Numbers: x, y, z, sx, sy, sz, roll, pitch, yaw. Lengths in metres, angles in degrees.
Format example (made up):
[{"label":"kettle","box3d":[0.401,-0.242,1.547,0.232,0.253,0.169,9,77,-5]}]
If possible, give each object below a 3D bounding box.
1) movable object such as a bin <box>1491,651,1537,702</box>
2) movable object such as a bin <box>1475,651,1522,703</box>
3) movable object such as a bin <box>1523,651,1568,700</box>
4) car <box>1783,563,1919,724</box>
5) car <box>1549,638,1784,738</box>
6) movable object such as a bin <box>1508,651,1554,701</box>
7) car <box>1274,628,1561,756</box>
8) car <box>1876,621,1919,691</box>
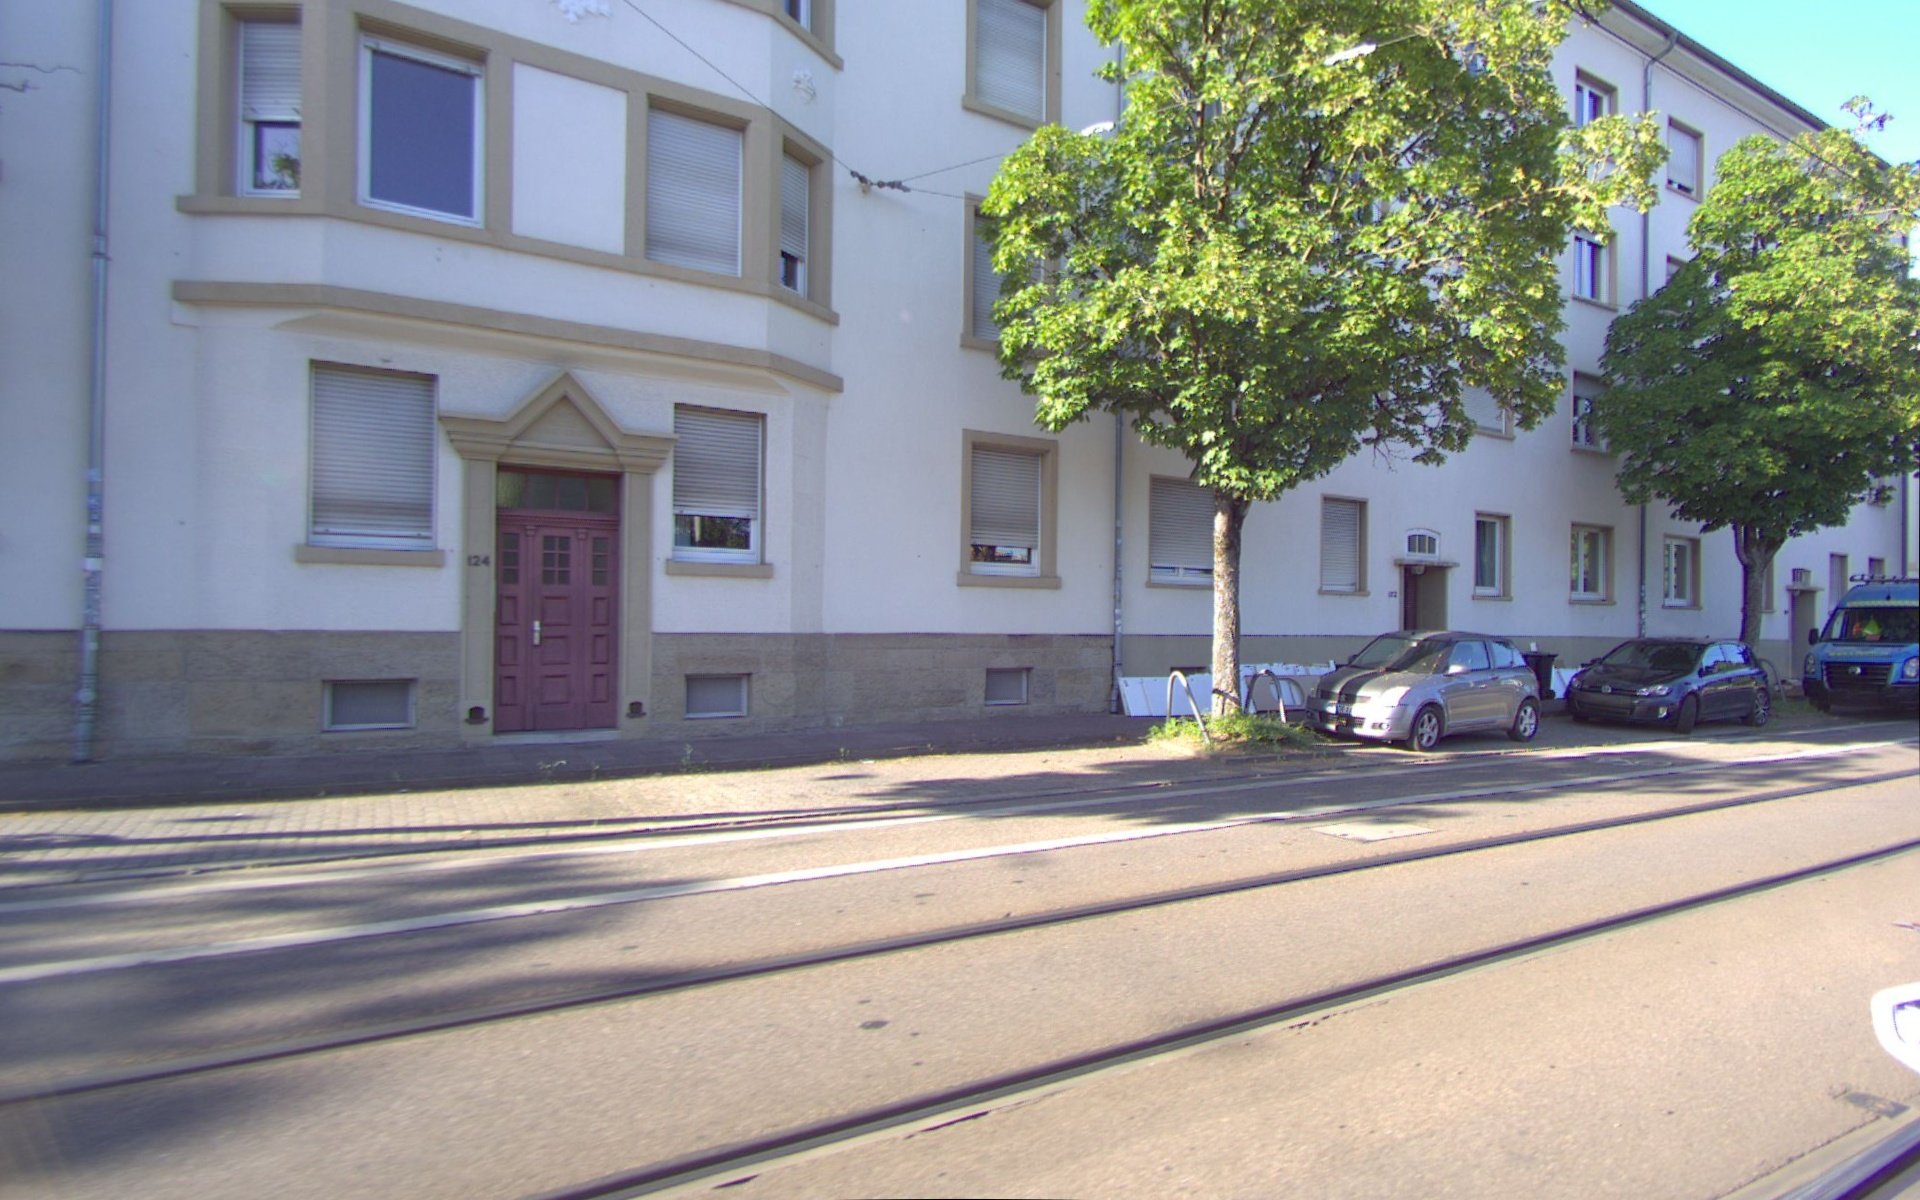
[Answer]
[{"label":"movable object such as a bin","box3d":[10.701,1.469,19.409,0.563,0.947,0.592,1,-2,-33]},{"label":"movable object such as a bin","box3d":[10.219,1.453,19.073,0.563,0.947,0.592,1,-2,-33]},{"label":"movable object such as a bin","box3d":[11.703,1.502,20.068,0.563,0.947,0.592,1,-2,-33]},{"label":"car","box3d":[19.202,0.859,20.224,5.959,2.863,2.008,2,0,-29]},{"label":"car","box3d":[11.947,1.415,16.934,4.140,1.444,1.643,2,0,-30]},{"label":"movable object such as a bin","box3d":[11.209,1.485,19.733,0.563,0.947,0.592,1,-2,-33]},{"label":"car","box3d":[6.401,1.200,13.968,3.953,1.511,1.643,2,0,-30]},{"label":"car","box3d":[24.844,1.455,24.892,4.589,1.582,1.781,2,6,-31]}]
